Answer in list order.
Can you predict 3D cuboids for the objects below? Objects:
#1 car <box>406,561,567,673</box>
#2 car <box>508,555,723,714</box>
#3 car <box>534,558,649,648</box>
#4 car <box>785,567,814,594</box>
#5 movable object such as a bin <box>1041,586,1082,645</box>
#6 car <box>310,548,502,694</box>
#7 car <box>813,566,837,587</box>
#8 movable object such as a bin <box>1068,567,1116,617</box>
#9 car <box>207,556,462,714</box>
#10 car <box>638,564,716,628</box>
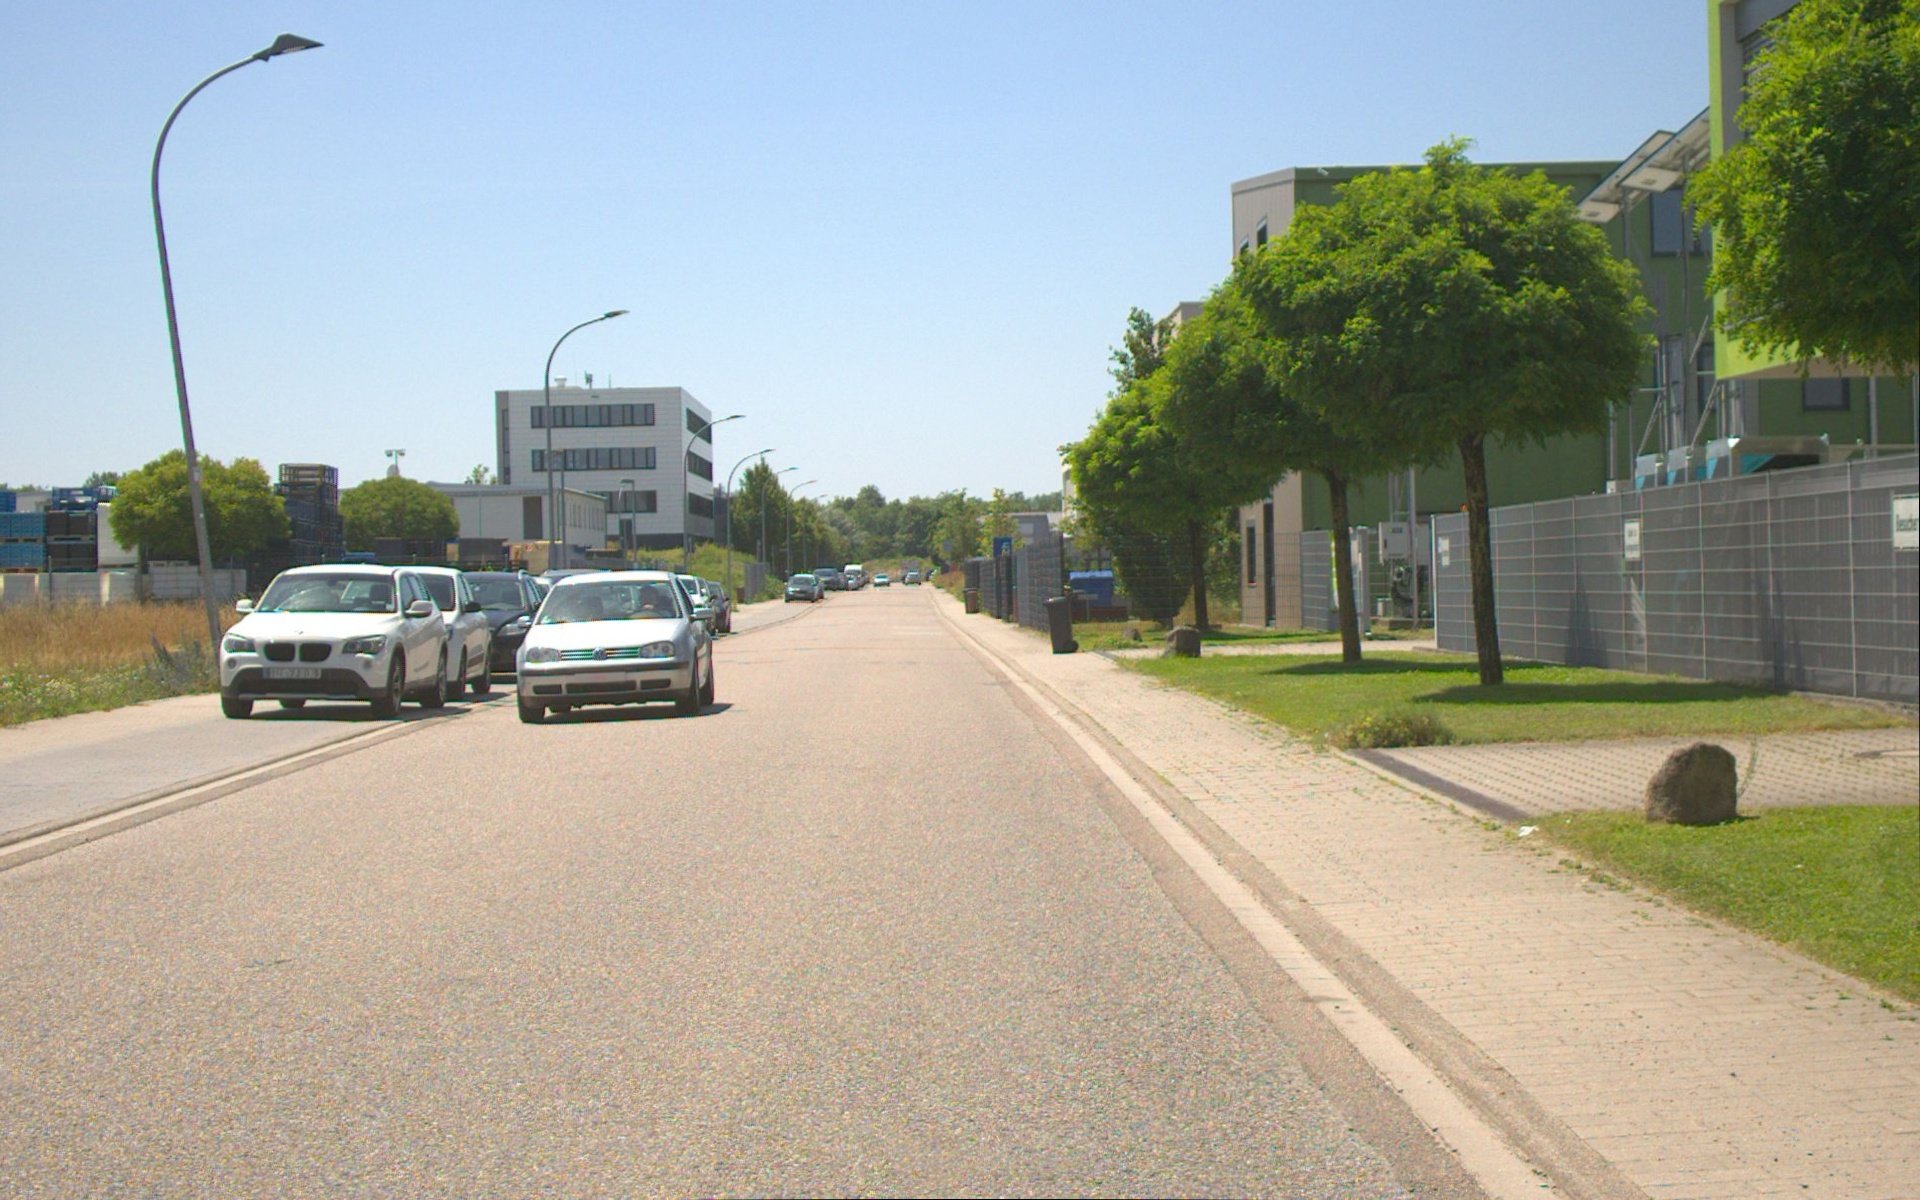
[{"bbox_3d":[-6.609,0.207,48.373,1.763,1.512,4.380,0,1,-1],"label":"car"},{"bbox_3d":[-3.414,0.293,34.837,1.704,1.406,4.784,-3,1,-1],"label":"car"},{"bbox_3d":[-6.795,0.038,63.732,1.790,1.601,4.463,0,0,-2],"label":"car"},{"bbox_3d":[-8.996,-1.097,192.994,1.466,1.484,3.207,-1,1,0],"label":"car"},{"bbox_3d":[1.672,0.258,56.664,0.552,0.925,0.521,-5,0,9],"label":"movable object such as a bin"},{"bbox_3d":[-6.573,0.225,41.115,1.787,1.651,3.769,0,1,-2],"label":"car"},{"bbox_3d":[-9.721,-1.723,247.972,1.644,1.484,3.207,-1,1,0],"label":"car"},{"bbox_3d":[3.956,-0.249,103.322,1.334,1.454,0.949,-2,0,-1],"label":"movable object such as a bin"},{"bbox_3d":[-6.462,0.324,35.952,1.787,1.537,4.364,0,1,1],"label":"car"},{"bbox_3d":[-7.171,-0.102,87.457,1.769,1.587,4.360,0,0,-2],"label":"car"}]
